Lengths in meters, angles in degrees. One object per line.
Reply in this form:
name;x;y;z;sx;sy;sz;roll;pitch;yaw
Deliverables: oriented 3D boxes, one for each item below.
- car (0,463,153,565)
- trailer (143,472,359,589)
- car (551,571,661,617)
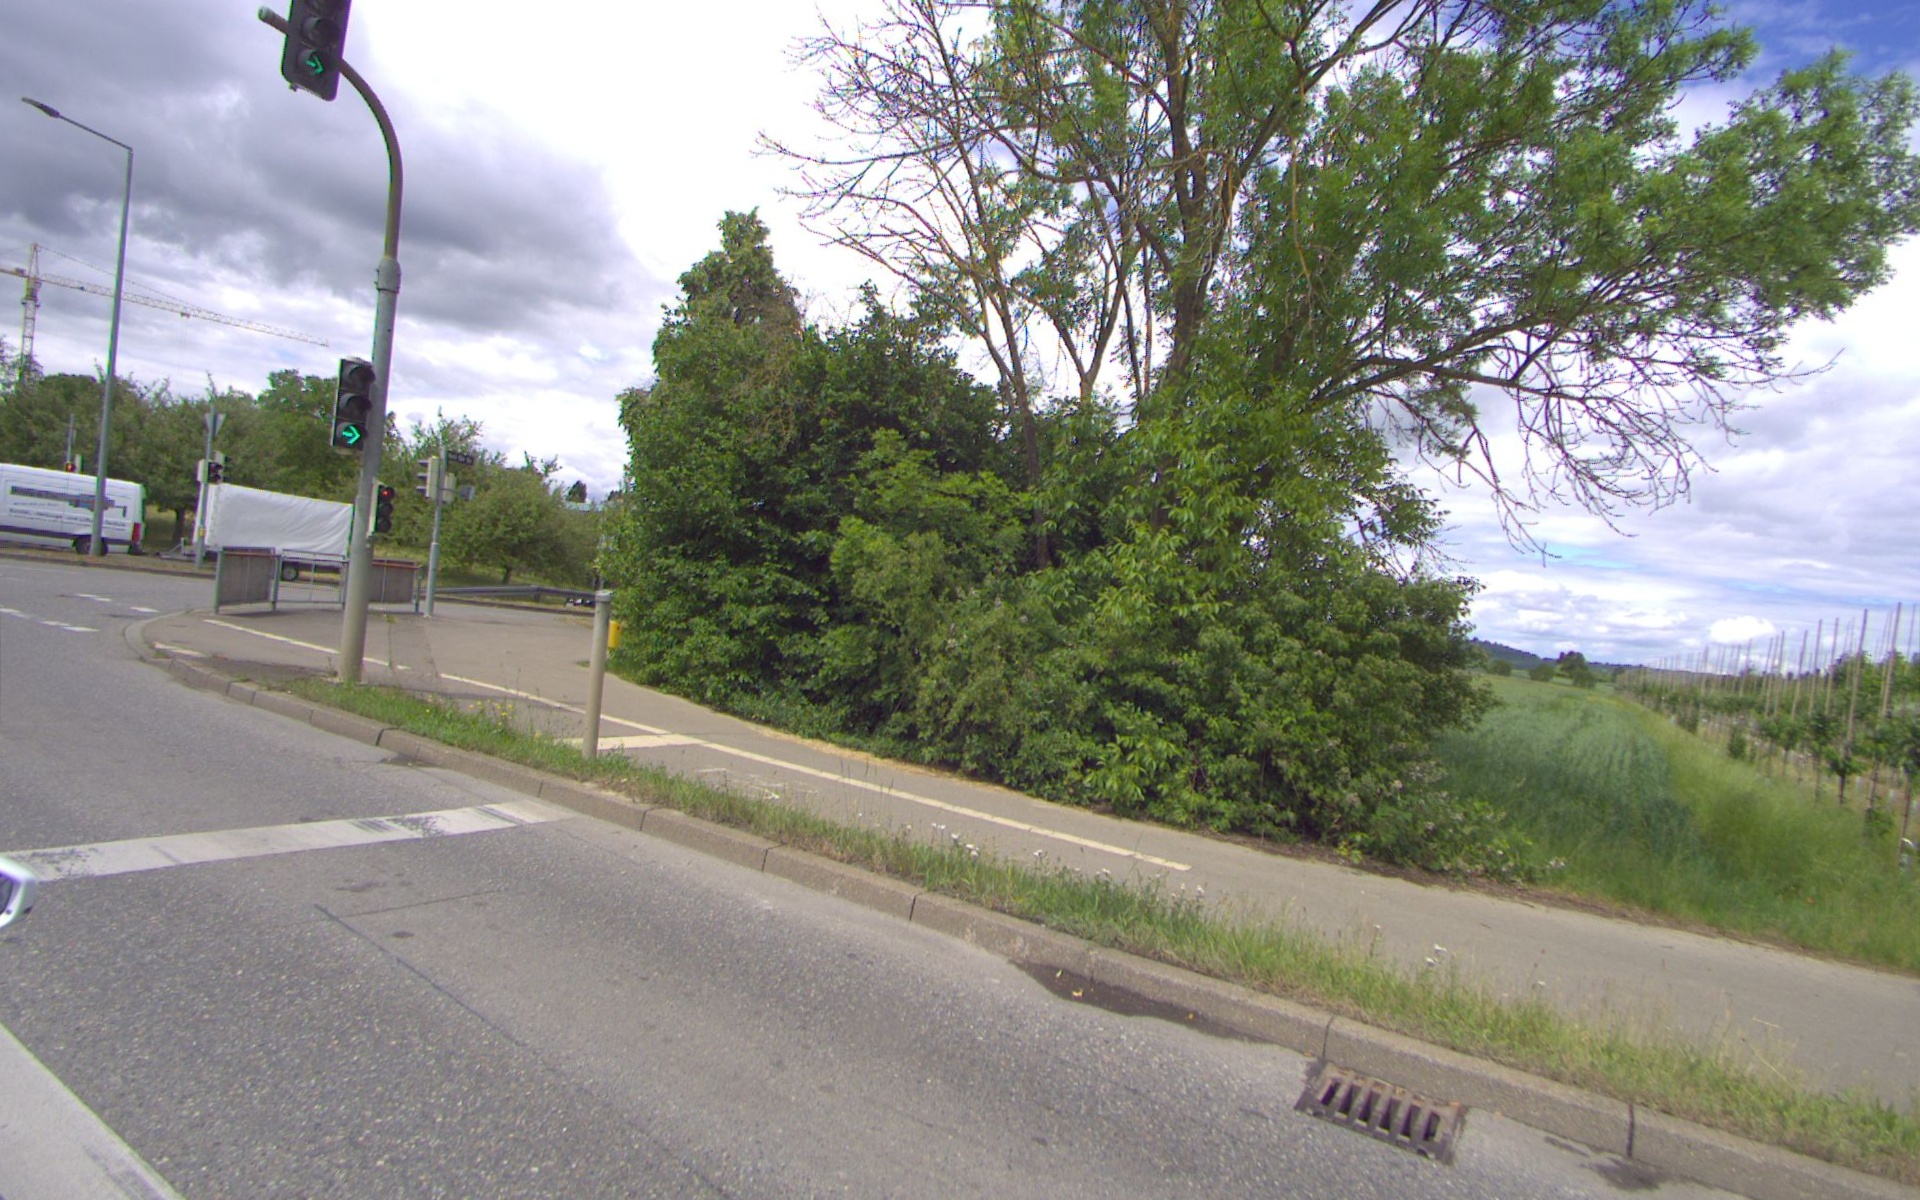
car;-29.048;-2.804;31.398;5.792;2.547;2.111;9;-2;-39
trailer;-24.817;-2.356;35.386;2.465;3.108;5.563;6;-2;42
car;-16.468;-0.247;46.960;1.967;1.585;4.461;8;0;33
